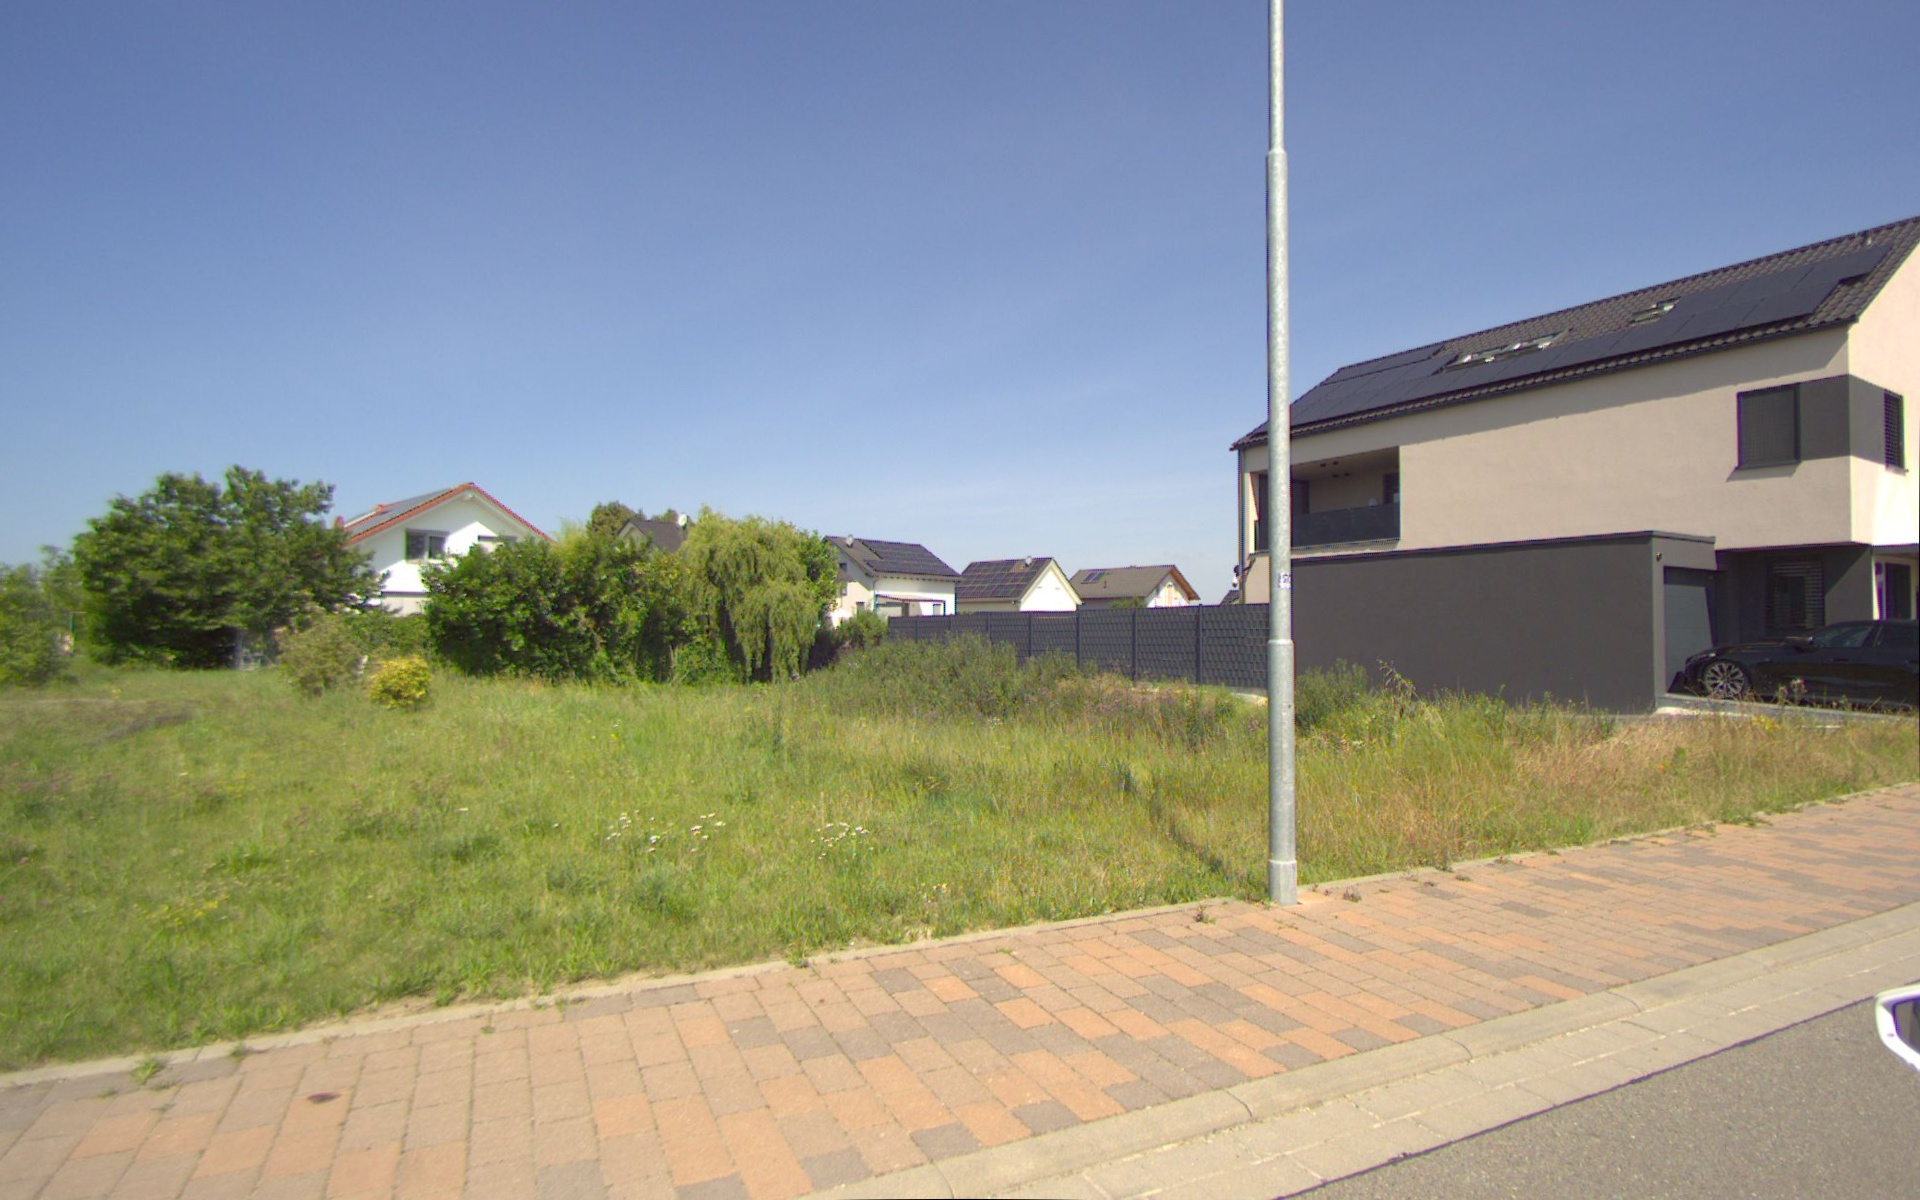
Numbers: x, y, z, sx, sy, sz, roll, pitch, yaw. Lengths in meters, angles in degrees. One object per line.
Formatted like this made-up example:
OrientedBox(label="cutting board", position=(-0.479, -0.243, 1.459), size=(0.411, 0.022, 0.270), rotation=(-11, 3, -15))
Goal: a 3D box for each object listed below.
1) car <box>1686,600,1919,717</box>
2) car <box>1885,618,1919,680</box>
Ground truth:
OrientedBox(label="car", position=(14.328, 0.880, 15.811), size=(1.751, 1.653, 4.352), rotation=(1, 1, -31))
OrientedBox(label="car", position=(24.724, 1.172, 23.693), size=(1.733, 1.506, 3.969), rotation=(1, -1, -30))
